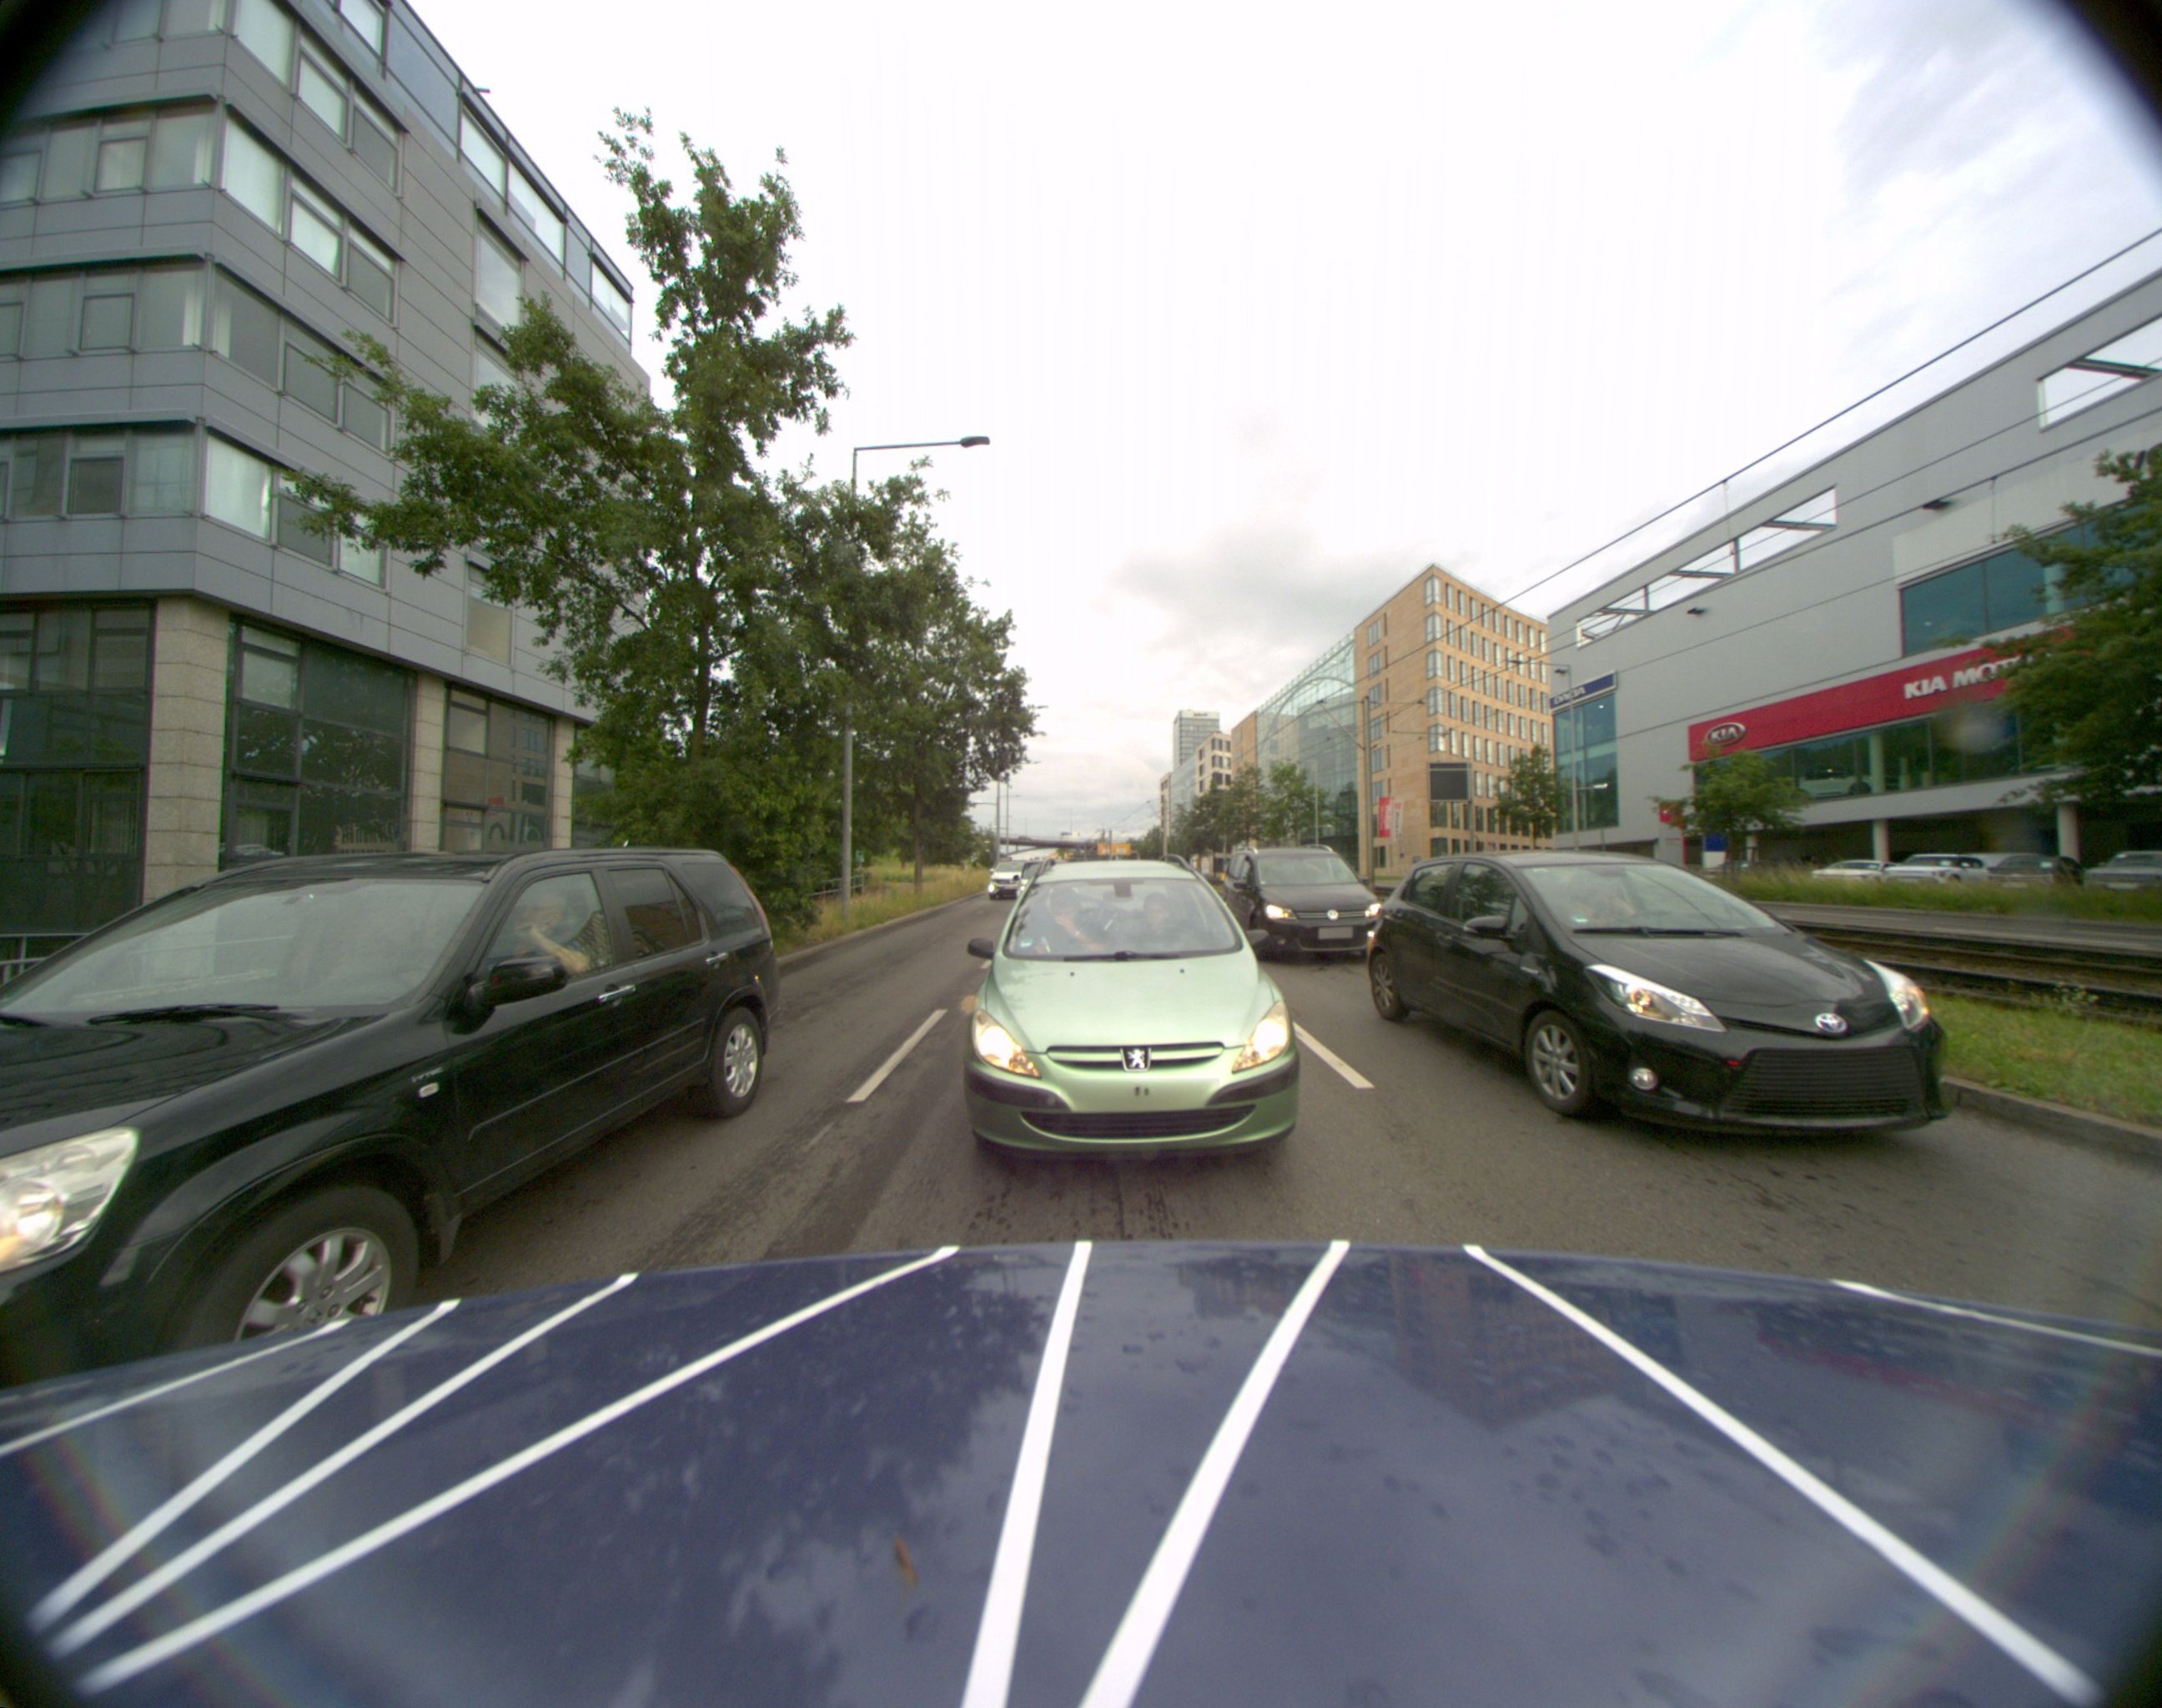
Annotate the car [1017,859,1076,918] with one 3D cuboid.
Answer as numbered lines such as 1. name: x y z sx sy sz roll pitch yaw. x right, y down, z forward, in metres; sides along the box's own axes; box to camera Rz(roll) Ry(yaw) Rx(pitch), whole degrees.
1. car: -1.008 0.925 21.566 1.518 1.495 3.167 -1 0 -4

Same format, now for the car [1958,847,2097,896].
1. car: 31.605 0.570 25.390 3.528 1.344 1.696 -4 1 -17

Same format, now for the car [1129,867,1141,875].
1. car: 10.932 3.367 154.116 1.589 1.504 4.099 1 0 -7

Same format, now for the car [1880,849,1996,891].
1. car: 31.767 0.563 28.171 3.668 1.287 1.696 -4 1 -22

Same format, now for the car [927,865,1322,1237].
1. car: 0.178 0.899 5.525 1.704 1.523 4.370 -1 0 -1

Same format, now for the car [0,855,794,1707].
1. car: -2.981 0.855 3.263 1.759 1.649 4.338 -1 0 1

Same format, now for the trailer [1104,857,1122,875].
1. trailer: 8.119 3.028 195.413 3.143 4.304 13.277 2 0 -3

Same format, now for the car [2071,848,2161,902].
1. car: 32.021 0.590 22.876 3.528 1.344 1.696 -4 1 -20

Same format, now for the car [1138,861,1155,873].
1. car: 10.124 2.032 117.096 1.999 1.709 4.839 1 0 -3

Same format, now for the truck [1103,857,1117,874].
1. truck: 7.639 3.087 202.263 3.144 4.219 7.026 2 0 -3

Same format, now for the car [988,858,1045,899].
1. car: -2.561 0.963 30.850 1.827 1.495 3.766 -1 0 2

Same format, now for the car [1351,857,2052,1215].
1. car: 3.433 0.810 5.270 1.704 1.523 3.826 -1 0 -1

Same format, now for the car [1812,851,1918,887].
1. car: 31.744 0.578 30.776 3.668 1.181 1.696 -4 1 -22

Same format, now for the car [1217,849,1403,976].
1. car: 3.313 0.747 11.877 1.786 1.597 4.318 -1 0 3

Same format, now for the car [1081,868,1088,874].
1. car: 0.968 5.210 230.787 1.655 1.428 3.876 -2 2 -6
